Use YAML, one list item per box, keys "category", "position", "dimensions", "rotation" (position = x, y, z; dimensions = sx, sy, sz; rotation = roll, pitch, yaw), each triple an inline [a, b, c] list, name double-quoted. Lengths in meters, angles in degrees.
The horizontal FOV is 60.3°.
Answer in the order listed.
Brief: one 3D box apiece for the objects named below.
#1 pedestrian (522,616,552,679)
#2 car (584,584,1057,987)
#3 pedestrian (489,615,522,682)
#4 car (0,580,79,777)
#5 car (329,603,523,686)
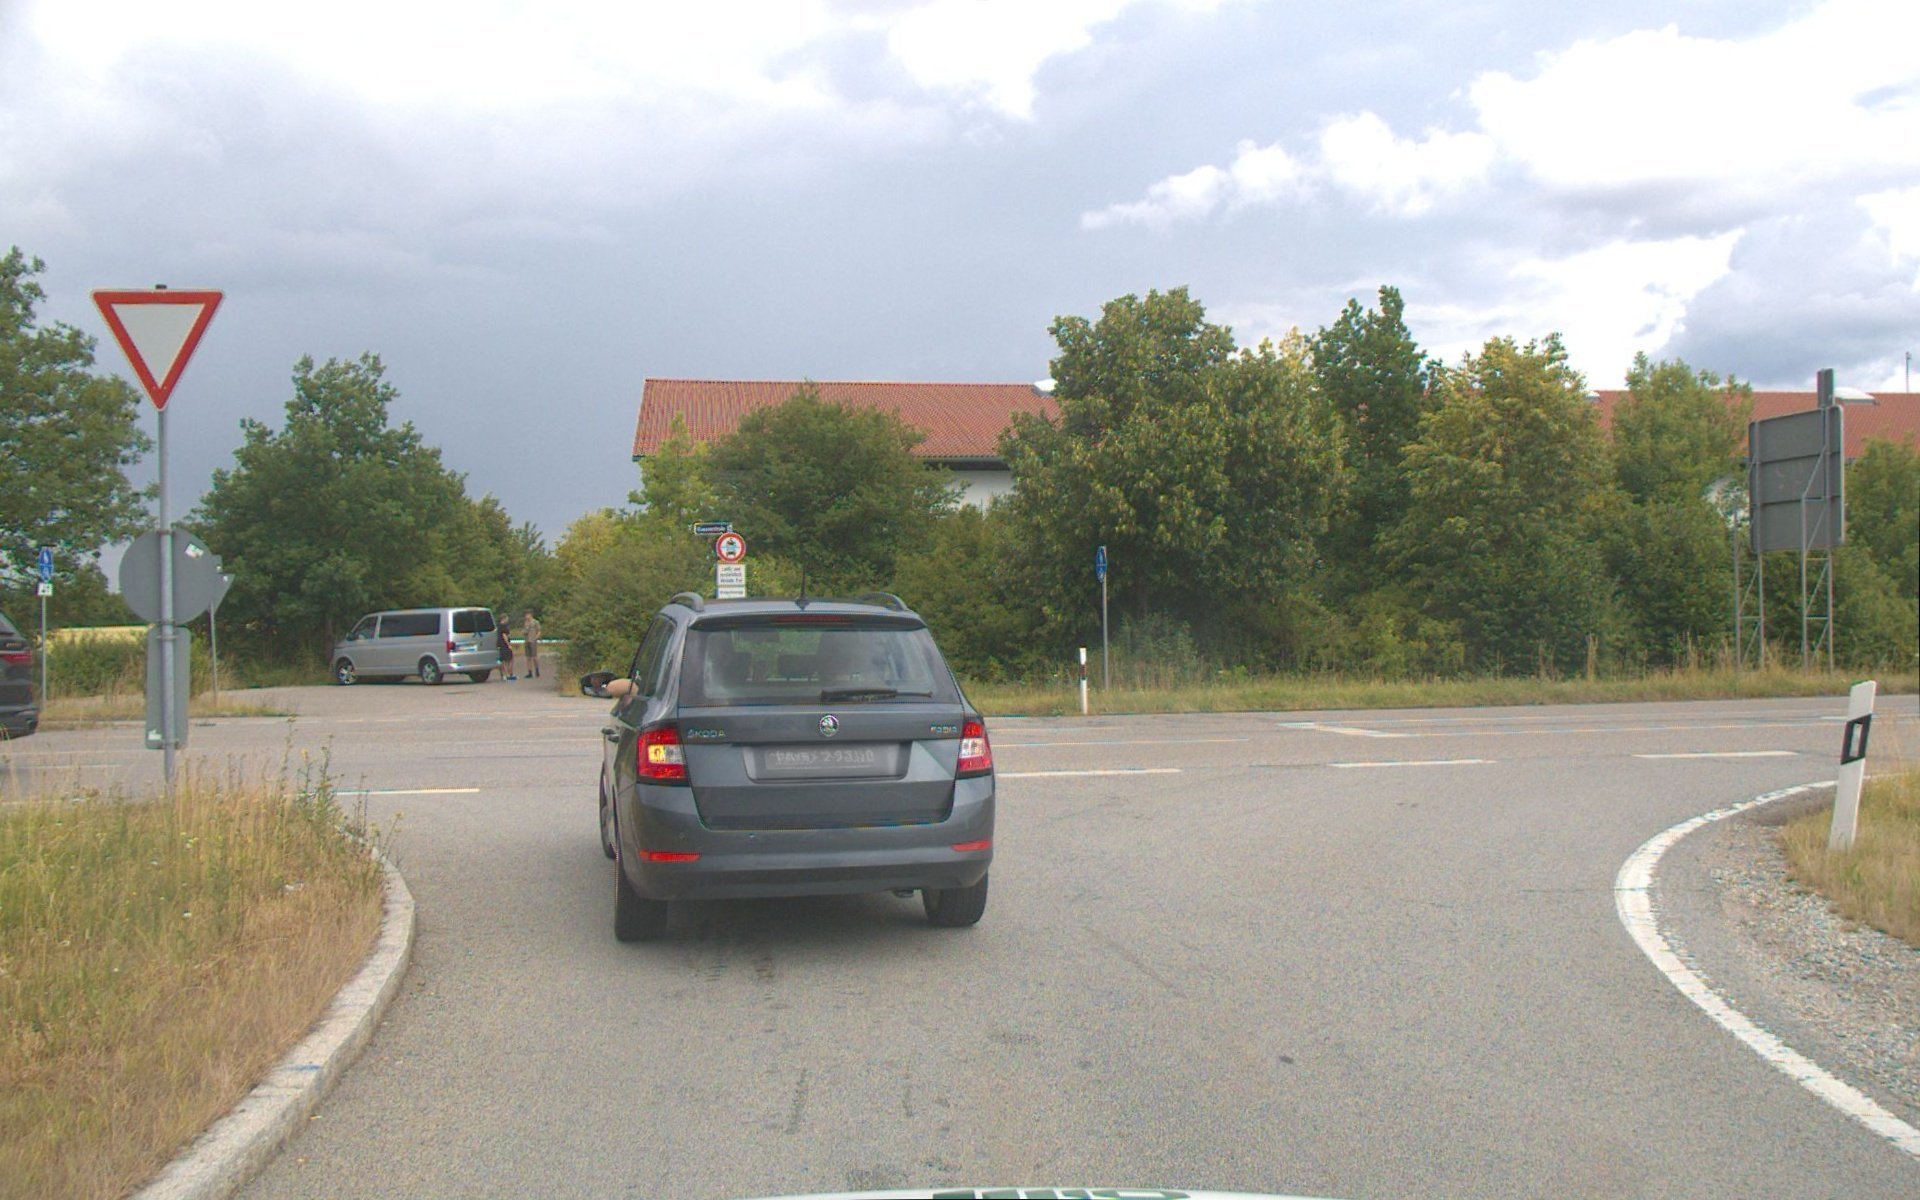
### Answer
- category: "pedestrian"
  position: [-11.754, 1.325, 45.962]
  dimensions: [0.571, 1.712, 0.566]
  rotation: [-1, 1, 17]
- category: "car"
  position: [-0.906, 0.671, 8.121]
  dimensions: [1.649, 1.488, 3.691]
  rotation: [0, 0, -16]
- category: "pedestrian"
  position: [-12.152, 1.301, 44.205]
  dimensions: [0.518, 1.756, 0.640]
  rotation: [-1, 1, 29]
- category: "car"
  position: [-11.002, 0.752, 15.590]
  dimensions: [4.530, 1.805, 2.002]
  rotation: [-1, -1, 12]
- category: "car"
  position: [-14.385, 1.165, 44.551]
  dimensions: [4.807, 2.048, 2.338]
  rotation: [-1, 1, 30]
